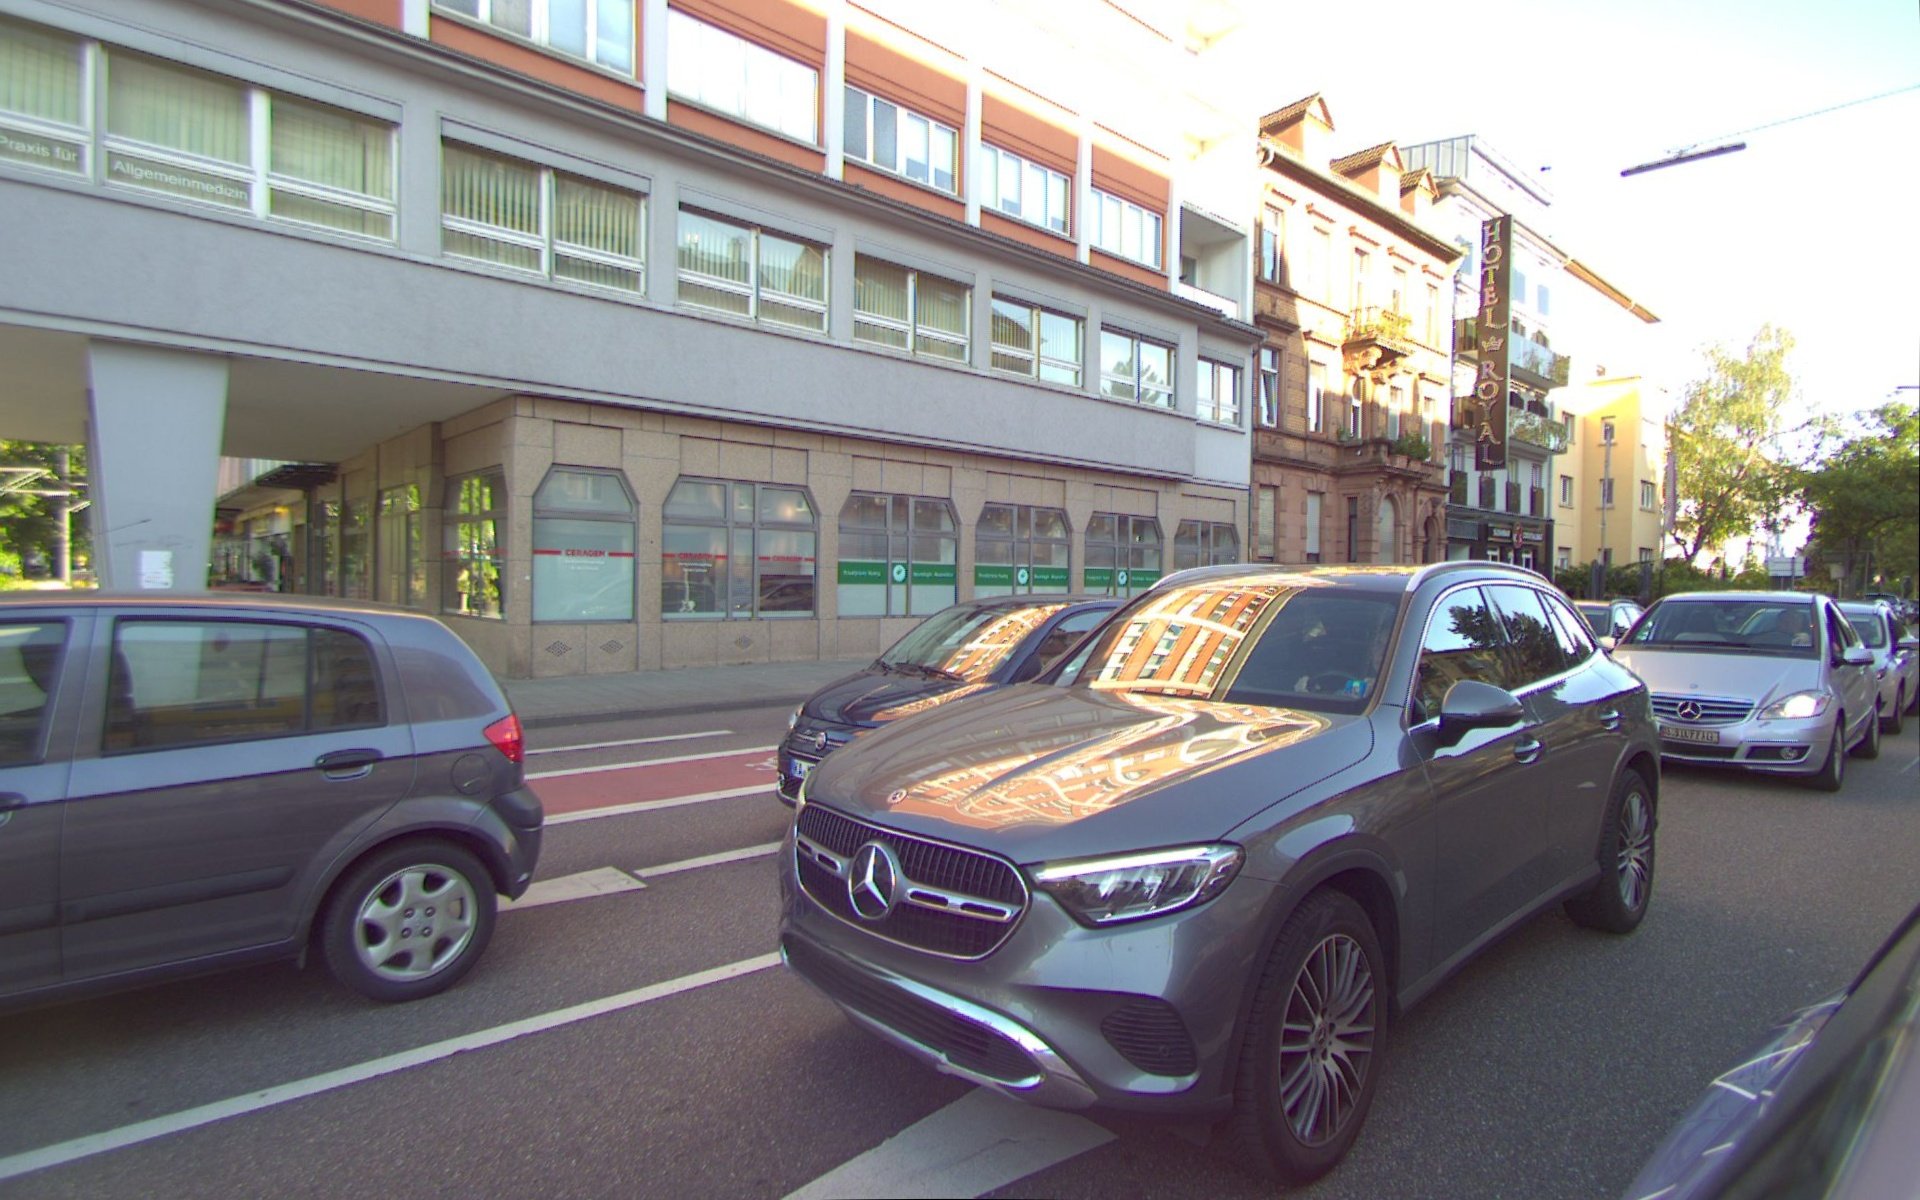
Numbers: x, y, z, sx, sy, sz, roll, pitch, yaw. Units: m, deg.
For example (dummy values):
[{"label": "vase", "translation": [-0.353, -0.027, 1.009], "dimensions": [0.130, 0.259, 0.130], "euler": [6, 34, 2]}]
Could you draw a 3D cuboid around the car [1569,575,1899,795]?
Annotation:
[{"label": "car", "translation": [7.183, 0.598, 9.279], "dimensions": [3.557, 1.588, 1.806], "euler": [0, 2, -43]}]

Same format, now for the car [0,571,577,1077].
[{"label": "car", "translation": [-3.388, 0.648, 3.454], "dimensions": [3.585, 1.465, 1.587], "euler": [0, 0, -42]}]

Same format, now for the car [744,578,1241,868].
[{"label": "car", "translation": [0.374, 0.632, 7.091], "dimensions": [3.420, 1.524, 1.491], "euler": [0, 2, -43]}]

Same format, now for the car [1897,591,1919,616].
[{"label": "car", "translation": [58.368, 0.220, 61.403], "dimensions": [4.407, 1.466, 1.773], "euler": [0, 2, -42]}]

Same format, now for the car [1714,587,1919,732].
[{"label": "car", "translation": [11.047, 0.608, 12.724], "dimensions": [4.235, 1.529, 1.710], "euler": [0, 1, -42]}]

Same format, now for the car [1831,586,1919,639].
[{"label": "car", "translation": [29.623, 0.354, 32.587], "dimensions": [3.933, 1.553, 1.996], "euler": [0, 1, -43]}]

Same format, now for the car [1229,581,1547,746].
[{"label": "car", "translation": [4.870, 0.564, 11.230], "dimensions": [4.166, 1.503, 1.653], "euler": [0, 0, -42]}]

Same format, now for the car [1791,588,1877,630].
[{"label": "car", "translation": [35.160, 0.320, 40.689], "dimensions": [4.749, 1.531, 1.860], "euler": [0, 3, -40]}]

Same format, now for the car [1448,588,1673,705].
[{"label": "car", "translation": [8.967, 0.577, 14.968], "dimensions": [4.087, 1.475, 1.710], "euler": [0, 1, -42]}]

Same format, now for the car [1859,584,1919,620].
[{"label": "car", "translation": [47.000, 0.070, 51.076], "dimensions": [4.715, 1.675, 1.950], "euler": [0, 2, -43]}]

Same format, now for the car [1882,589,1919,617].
[{"label": "car", "translation": [53.313, 0.145, 57.027], "dimensions": [4.358, 1.490, 1.718], "euler": [0, 2, -44]}]

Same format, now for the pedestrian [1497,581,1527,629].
[{"label": "pedestrian", "translation": [19.625, 0.175, 35.970], "dimensions": [0.681, 1.664, 0.708], "euler": [1, 1, -42]}]

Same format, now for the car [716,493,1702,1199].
[{"label": "car", "translation": [1.421, 0.586, 4.151], "dimensions": [4.402, 1.653, 1.786], "euler": [0, 1, -43]}]

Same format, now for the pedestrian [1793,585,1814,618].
[{"label": "pedestrian", "translation": [43.152, 0.078, 51.780], "dimensions": [0.570, 1.636, 0.747], "euler": [0, 1, -43]}]

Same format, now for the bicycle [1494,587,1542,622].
[{"label": "bicycle", "translation": [19.878, 0.155, 36.053], "dimensions": [1.415, 1.124, 0.483], "euler": [5, 3, 32]}]

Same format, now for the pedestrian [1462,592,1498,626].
[{"label": "pedestrian", "translation": [16.557, 0.276, 32.224], "dimensions": [0.927, 1.056, 0.692], "euler": [0, 1, -38]}]
